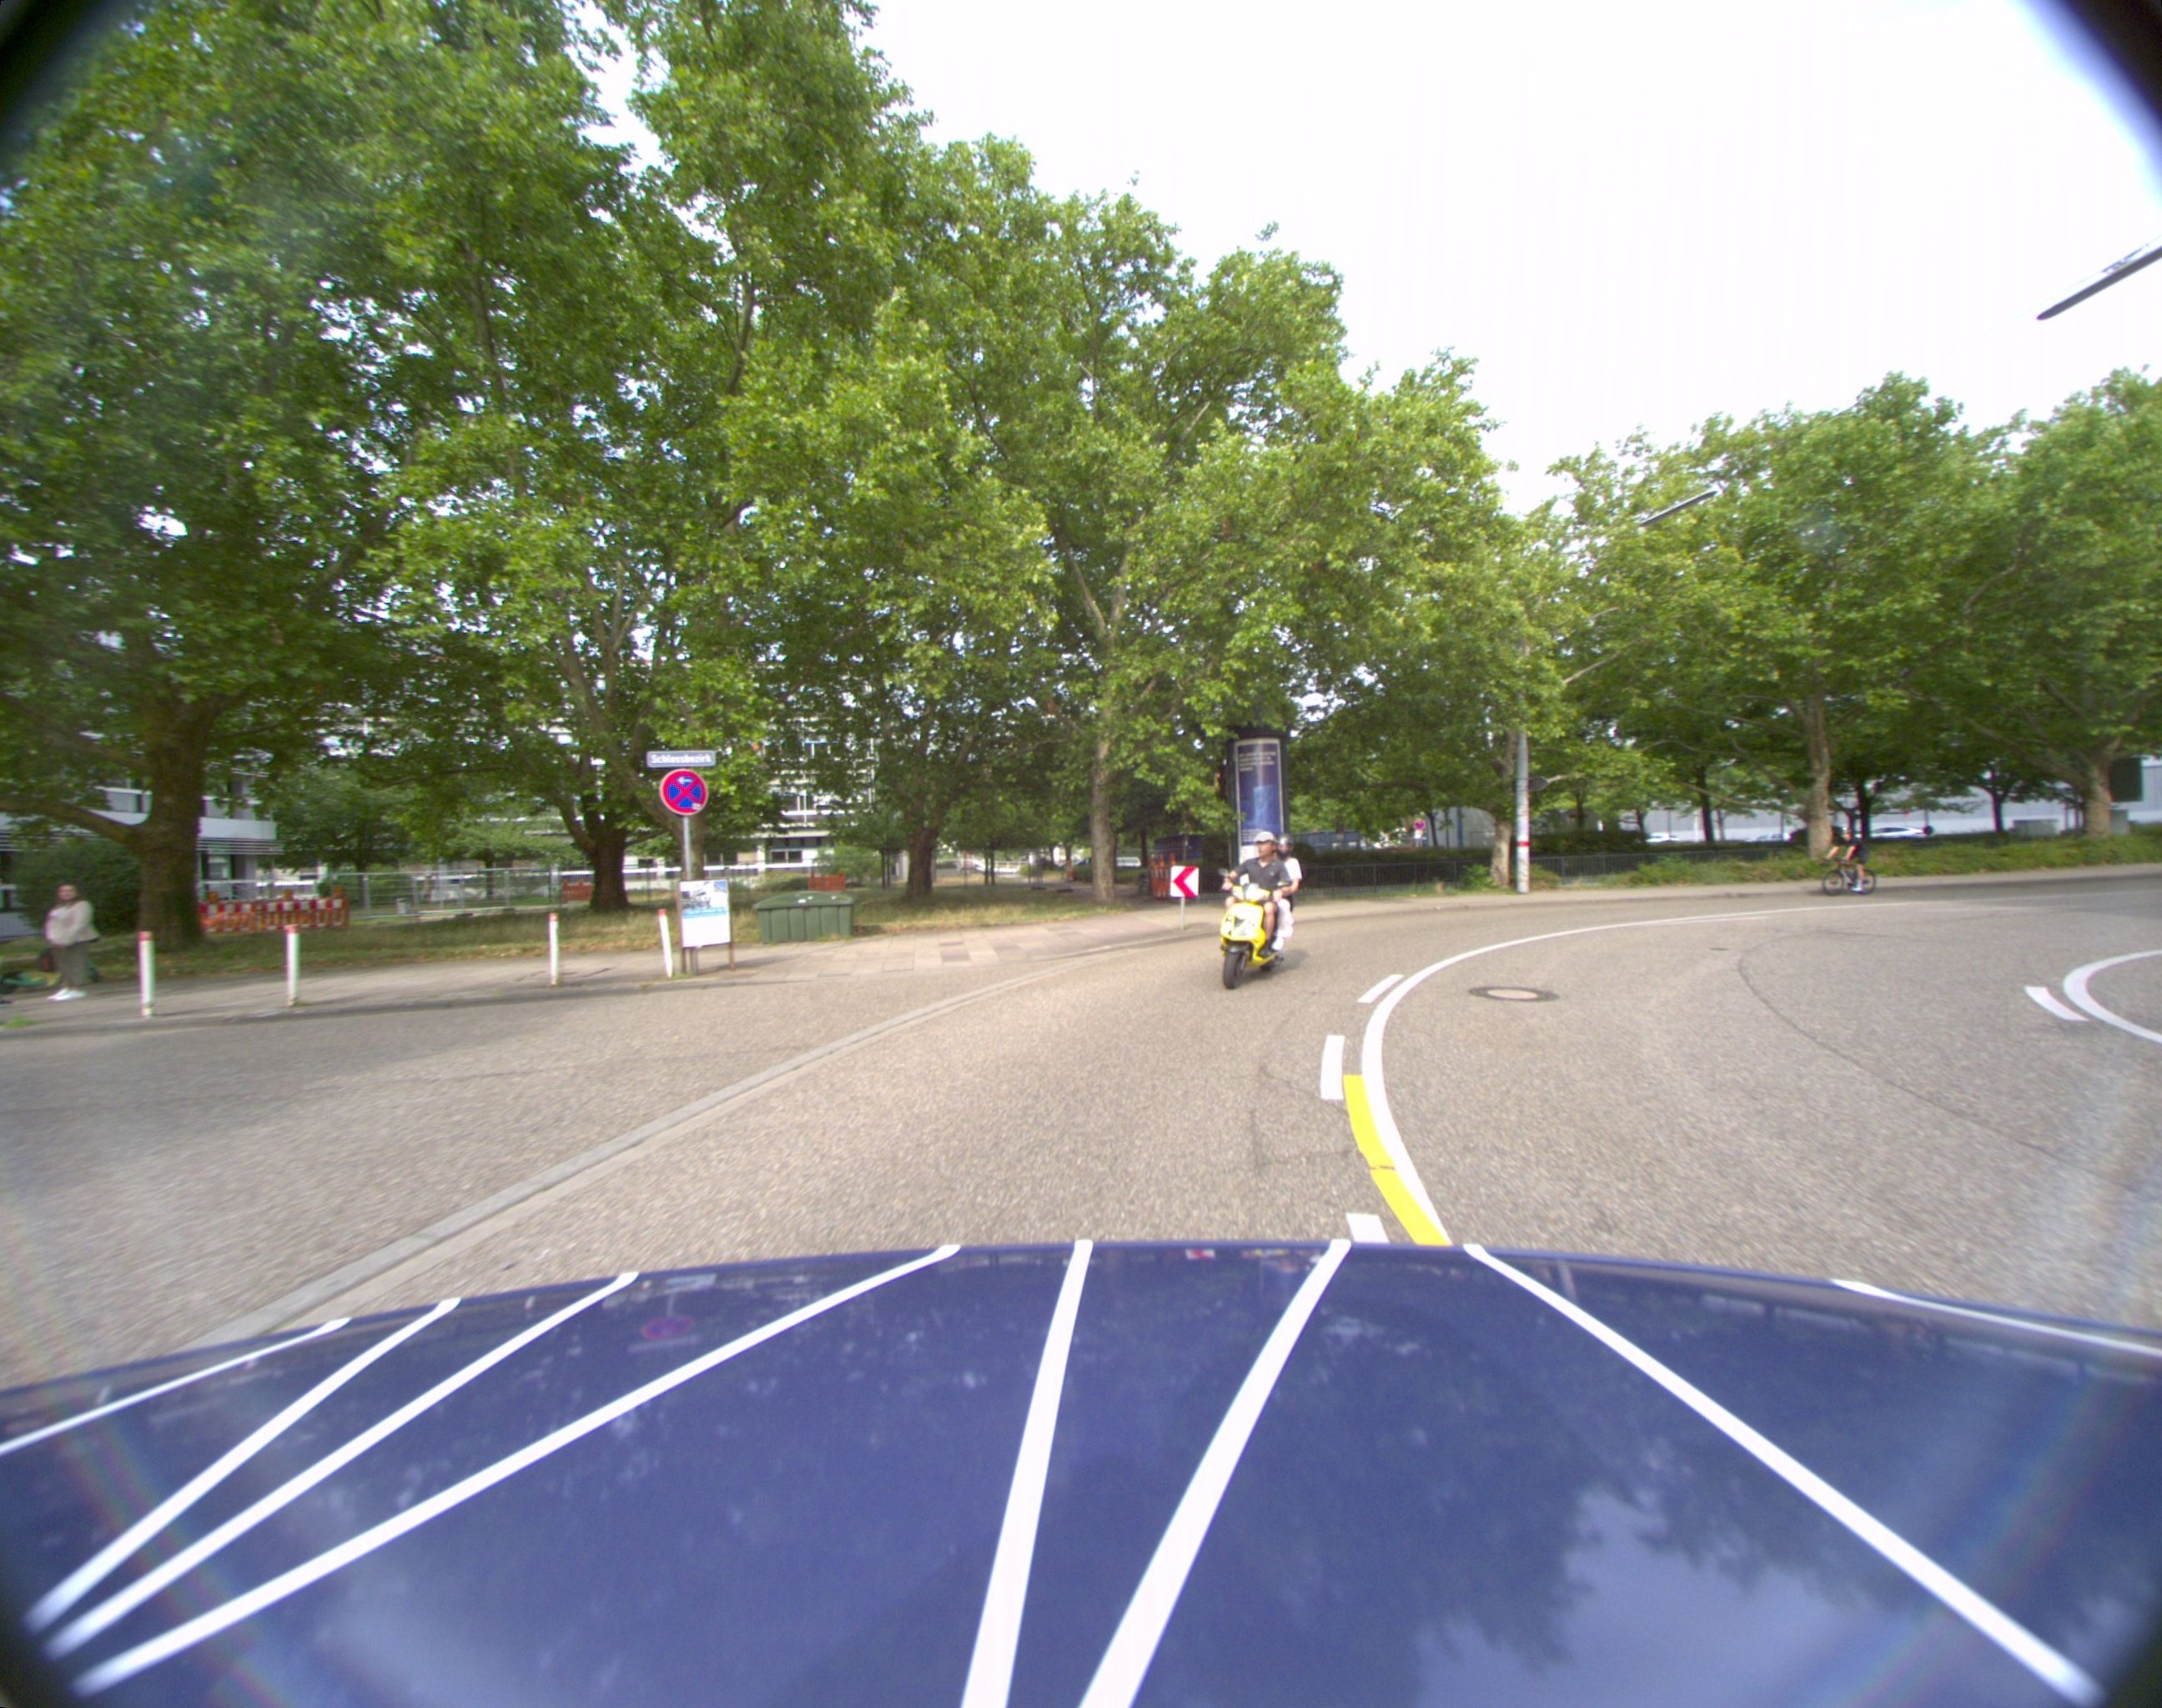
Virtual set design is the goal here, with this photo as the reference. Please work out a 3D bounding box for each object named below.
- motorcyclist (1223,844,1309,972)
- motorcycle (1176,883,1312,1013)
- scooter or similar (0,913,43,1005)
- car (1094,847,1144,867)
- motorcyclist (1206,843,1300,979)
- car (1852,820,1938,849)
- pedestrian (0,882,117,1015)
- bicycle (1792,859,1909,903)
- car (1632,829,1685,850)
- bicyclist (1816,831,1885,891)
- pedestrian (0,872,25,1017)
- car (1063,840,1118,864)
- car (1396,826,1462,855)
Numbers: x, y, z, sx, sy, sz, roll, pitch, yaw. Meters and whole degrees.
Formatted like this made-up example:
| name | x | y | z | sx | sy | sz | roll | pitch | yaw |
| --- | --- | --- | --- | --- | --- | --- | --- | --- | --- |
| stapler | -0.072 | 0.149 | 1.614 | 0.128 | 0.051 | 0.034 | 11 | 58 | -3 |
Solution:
| name | x | y | z | sx | sy | sz | roll | pitch | yaw |
| --- | --- | --- | --- | --- | --- | --- | --- | --- | --- |
| motorcyclist | 2.167 | 0.597 | 8.893 | 0.780 | 1.419 | 0.690 | 0 | 1 | 35 |
| motorcycle | 1.854 | 0.947 | 8.393 | 0.780 | 1.171 | 1.996 | 0 | 1 | 34 |
| scooter or similar | -15.371 | 1.477 | 10.411 | 0.570 | 1.261 | 1.453 | -2 | -2 | -16 |
| car | 3.211 | 0.244 | 64.173 | 3.791 | 1.571 | 1.998 | -2 | -2 | -14 |
| motorcyclist | 1.922 | 0.597 | 8.477 | 0.780 | 1.419 | 0.765 | 0 | 1 | 36 |
| car | 62.822 | -1.488 | 58.721 | 2.001 | 2.001 | 3.996 | -2 | -2 | -16 |
| pedestrian | -13.506 | 1.204 | 10.045 | 0.896 | 1.631 | 0.854 | -3 | -2 | 33 |
| bicycle | 19.337 | 0.669 | 19.102 | 2.407 | 1.009 | 0.771 | -2 | -1 | -9 |
| car | 59.893 | -1.491 | 78.831 | 1.955 | 1.850 | 3.874 | -1 | -2 | -20 |
| bicyclist | 19.359 | 0.185 | 19.128 | 0.914 | 1.438 | 0.784 | -2 | -1 | -11 |
| pedestrian | -13.401 | 1.088 | 8.899 | 0.965 | 1.731 | 1.252 | -1 | -2 | -43 |
| car | 0.867 | -0.180 | 71.831 | 4.775 | 2.001 | 1.998 | -2 | -2 | -14 |
| car | 34.413 | -1.305 | 75.124 | 5.499 | 2.597 | 2.441 | -2 | -1 | -14 |
